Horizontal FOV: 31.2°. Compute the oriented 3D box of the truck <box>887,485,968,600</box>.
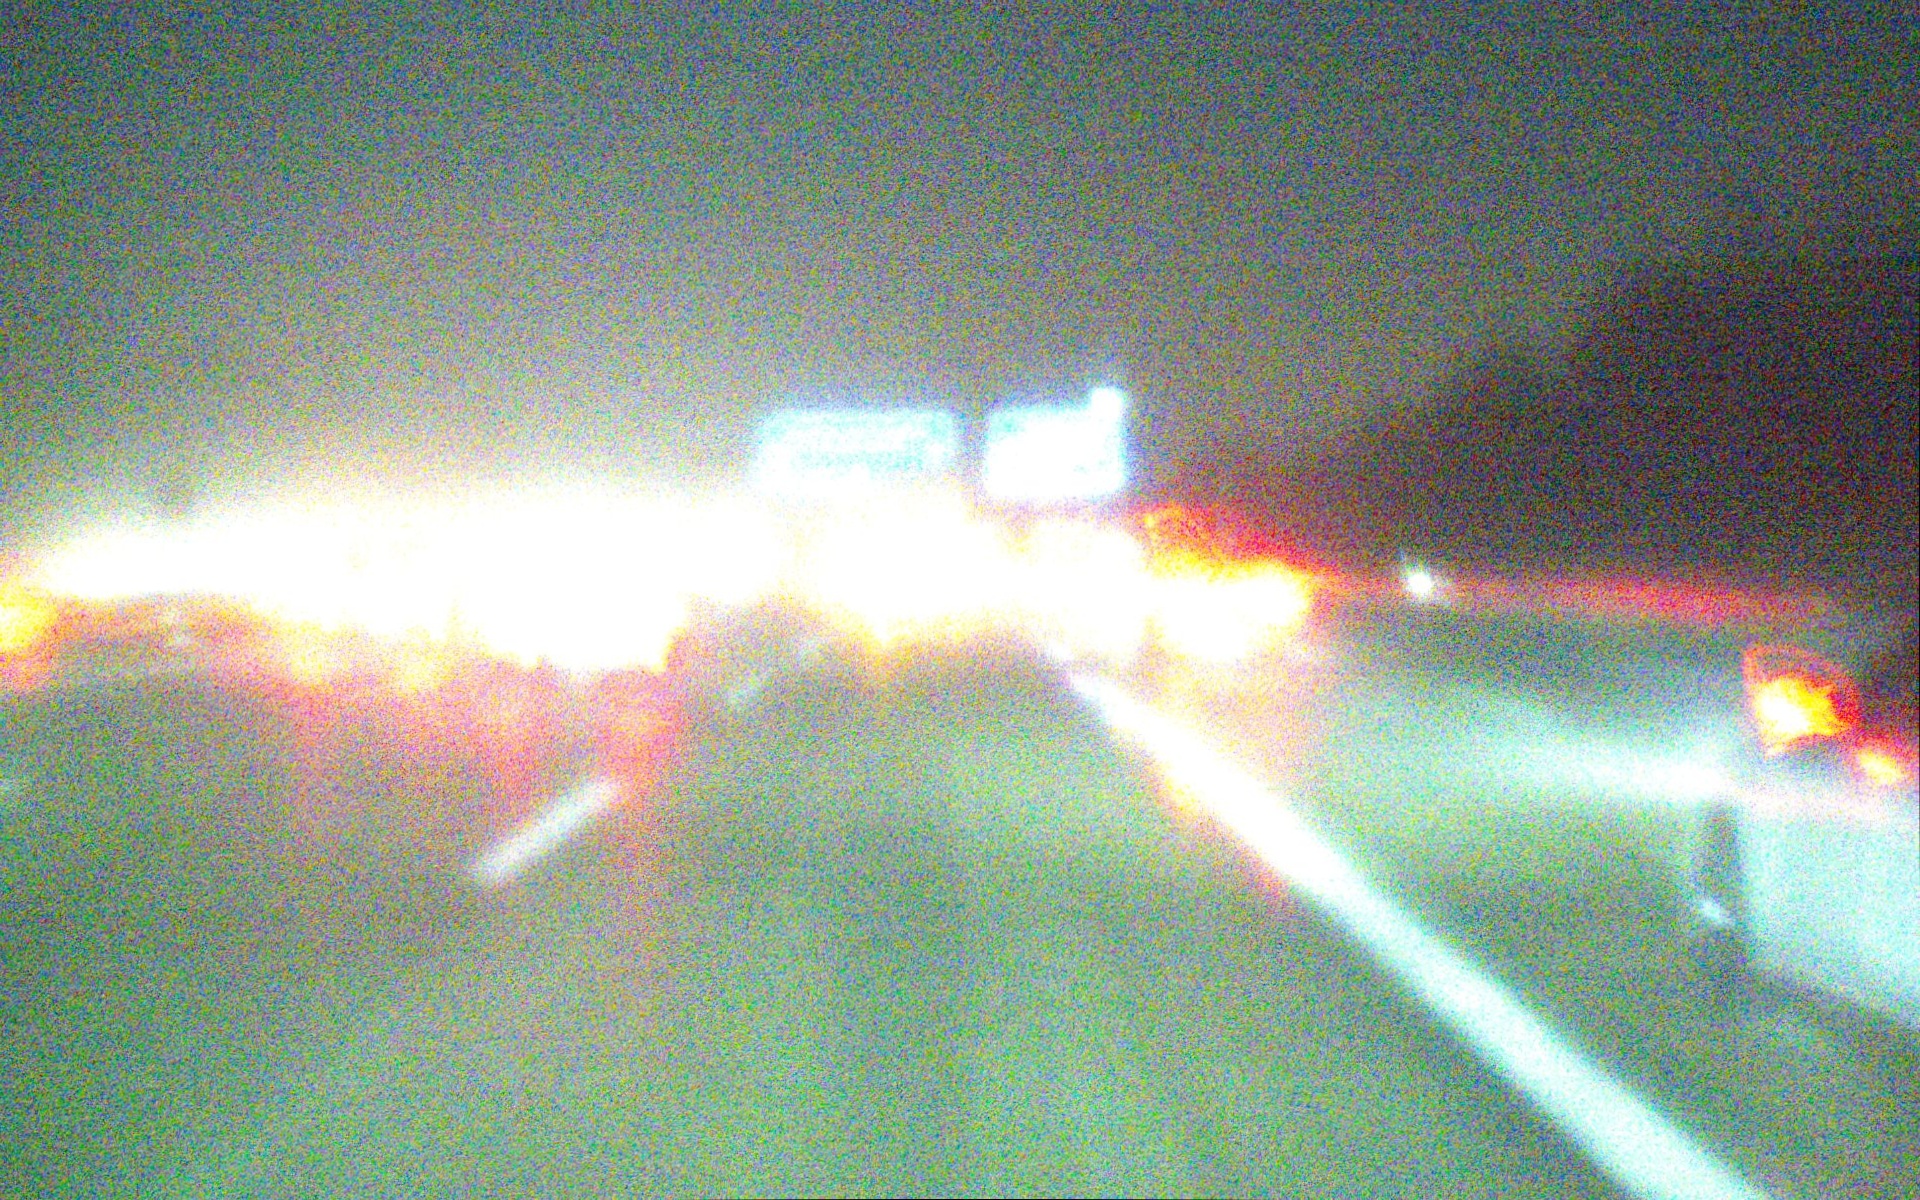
[{"bbox_3d":[-0.894,-1.577,97.659,1.993,3.032,6.465,-2,0,1],"label":"truck"}]

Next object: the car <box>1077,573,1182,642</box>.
[{"bbox_3d":[3.157,0.129,64.540,1.580,1.242,3.069,1,0,-4],"label":"car"}]

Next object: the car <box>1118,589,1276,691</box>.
[{"bbox_3d":[3.008,0.495,44.069,1.580,1.242,3.069,1,0,-4],"label":"car"}]

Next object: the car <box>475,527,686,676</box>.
[{"bbox_3d":[-3.960,-0.025,36.416,1.802,1.482,4.000,0,1,0],"label":"car"}]

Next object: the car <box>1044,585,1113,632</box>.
[{"bbox_3d":[3.275,0.223,95.205,1.580,1.242,3.069,1,0,-4],"label":"car"}]

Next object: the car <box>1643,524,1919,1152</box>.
[{"bbox_3d":[3.349,0.566,9.086,2.058,1.514,5.016,0,1,0],"label":"car"}]

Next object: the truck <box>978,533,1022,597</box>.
[{"bbox_3d":[2.020,-1.704,171.380,1.993,3.032,6.465,-2,0,1],"label":"truck"}]

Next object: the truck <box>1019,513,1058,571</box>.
[{"bbox_3d":[4.408,-3.234,193.661,1.993,3.032,6.465,-2,0,1],"label":"truck"}]

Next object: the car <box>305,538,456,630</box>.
[{"bbox_3d":[-8.482,-0.215,50.585,1.662,1.232,3.761,-2,0,-2],"label":"car"}]
